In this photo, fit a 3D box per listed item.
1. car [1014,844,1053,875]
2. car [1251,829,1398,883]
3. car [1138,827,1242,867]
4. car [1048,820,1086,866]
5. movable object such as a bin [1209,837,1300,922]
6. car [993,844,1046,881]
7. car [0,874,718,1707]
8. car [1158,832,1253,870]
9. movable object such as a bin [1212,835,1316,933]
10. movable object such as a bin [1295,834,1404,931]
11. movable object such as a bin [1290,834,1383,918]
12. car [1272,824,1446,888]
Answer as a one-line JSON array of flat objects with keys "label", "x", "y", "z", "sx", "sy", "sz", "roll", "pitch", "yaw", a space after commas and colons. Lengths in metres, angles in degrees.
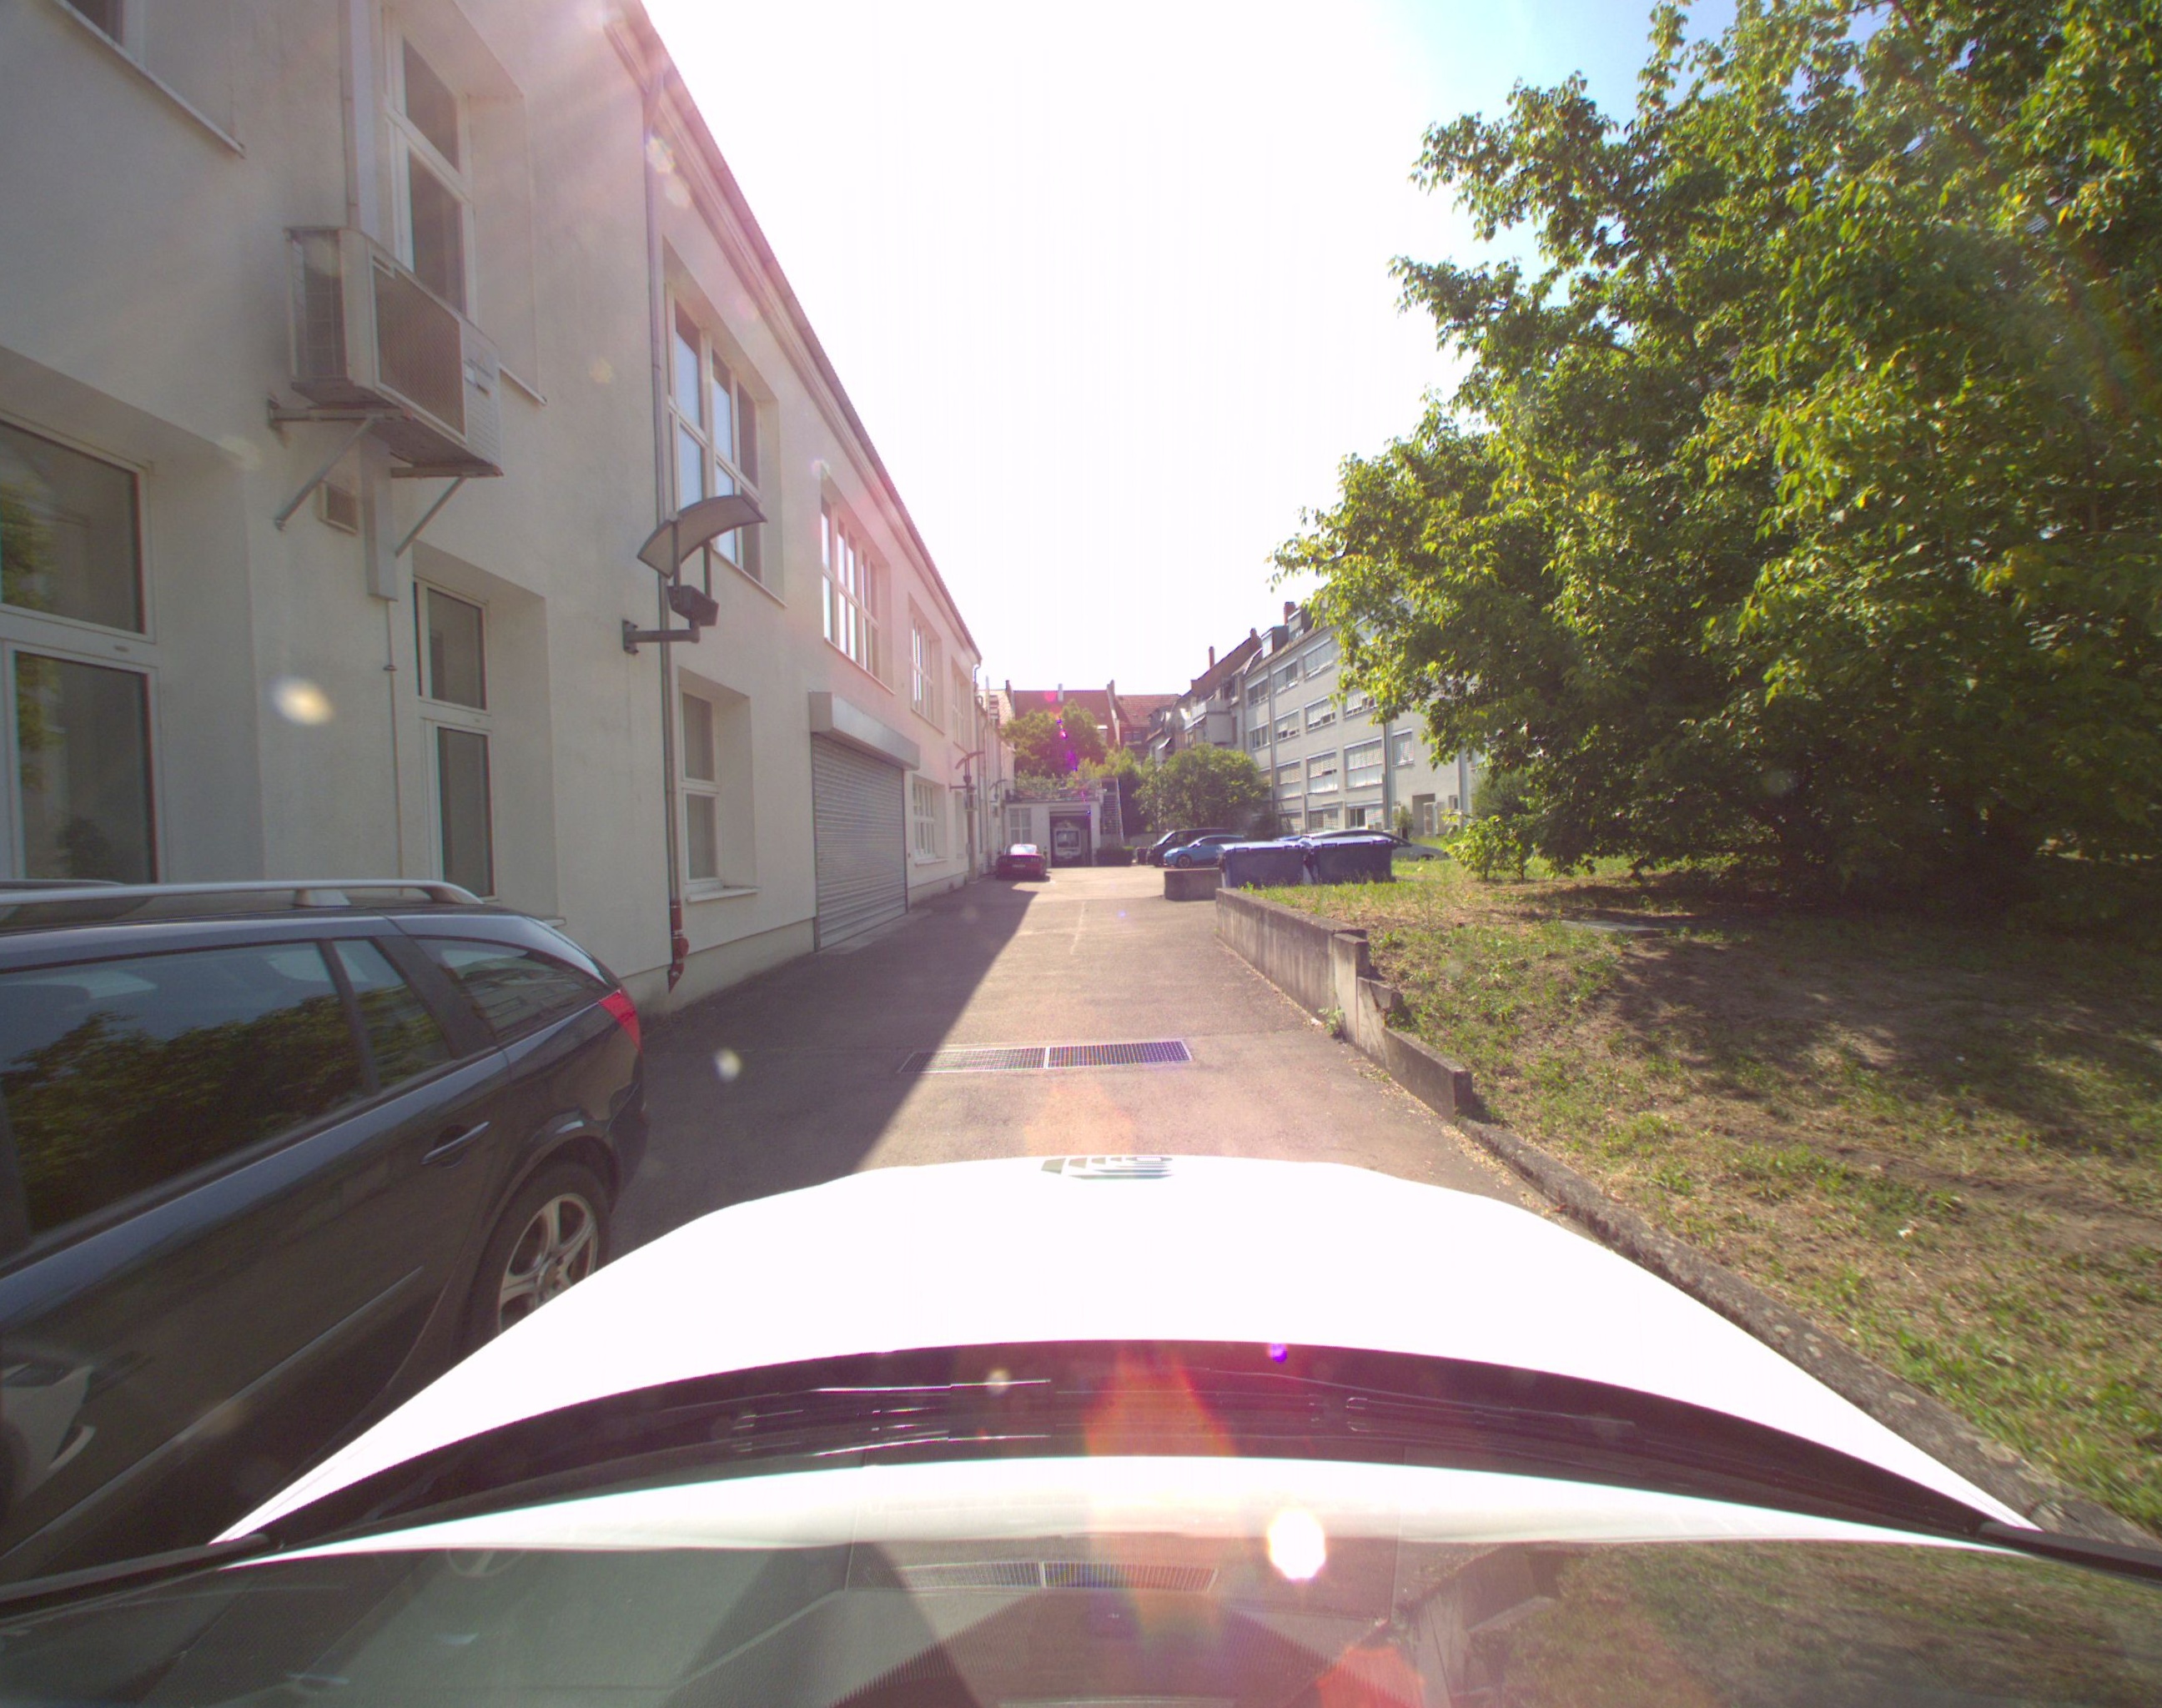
[{"label": "car", "x": -2.274, "y": 0.227, "z": 39.490, "sx": 1.609, "sy": 1.295, "sz": 3.758, "roll": -3, "pitch": 1, "yaw": 0}, {"label": "car", "x": 7.431, "y": 0.047, "z": 25.109, "sx": 3.975, "sy": 1.394, "sz": 1.688, "roll": -3, "pitch": 1, "yaw": -1}, {"label": "car", "x": 5.706, "y": -0.388, "z": 42.909, "sx": 4.957, "sy": 1.767, "sz": 2.087, "roll": -4, "pitch": 2, "yaw": -13}, {"label": "car", "x": -0.827, "y": -0.681, "z": 52.362, "sx": 2.167, "sy": 2.606, "sz": 6.733, "roll": -3, "pitch": 0, "yaw": 0}, {"label": "movable object such as a bin", "x": 2.981, "y": 0.412, "z": 14.120, "sx": 1.245, "sy": 1.355, "sz": 1.127, "roll": -3, "pitch": 1, "yaw": -4}, {"label": "car", "x": -2.392, "y": 0.303, "z": 32.521, "sx": 1.847, "sy": 1.319, "sz": 3.998, "roll": -1, "pitch": 1, "yaw": -1}, {"label": "car", "x": -2.369, "y": 0.778, "z": 1.074, "sx": 1.831, "sy": 1.442, "sz": 4.427, "roll": 0, "pitch": -1, "yaw": -1}, {"label": "car", "x": 6.017, "y": -0.173, "z": 39.666, "sx": 4.221, "sy": 1.532, "sz": 1.997, "roll": -3, "pitch": 2, "yaw": -4}, {"label": "movable object such as a bin", "x": 2.722, "y": 0.441, "z": 12.282, "sx": 1.243, "sy": 1.319, "sz": 1.142, "roll": -4, "pitch": -1, "yaw": 1}, {"label": "movable object such as a bin", "x": 4.008, "y": 0.404, "z": 12.265, "sx": 1.242, "sy": 1.340, "sz": 1.143, "roll": -3, "pitch": 1, "yaw": 2}, {"label": "movable object such as a bin", "x": 4.390, "y": 0.354, "z": 14.078, "sx": 1.153, "sy": 1.336, "sz": 1.141, "roll": -3, "pitch": 1, "yaw": -4}, {"label": "car", "x": 7.322, "y": 0.033, "z": 21.685, "sx": 3.979, "sy": 1.427, "sz": 1.810, "roll": -3, "pitch": 1, "yaw": -4}]
